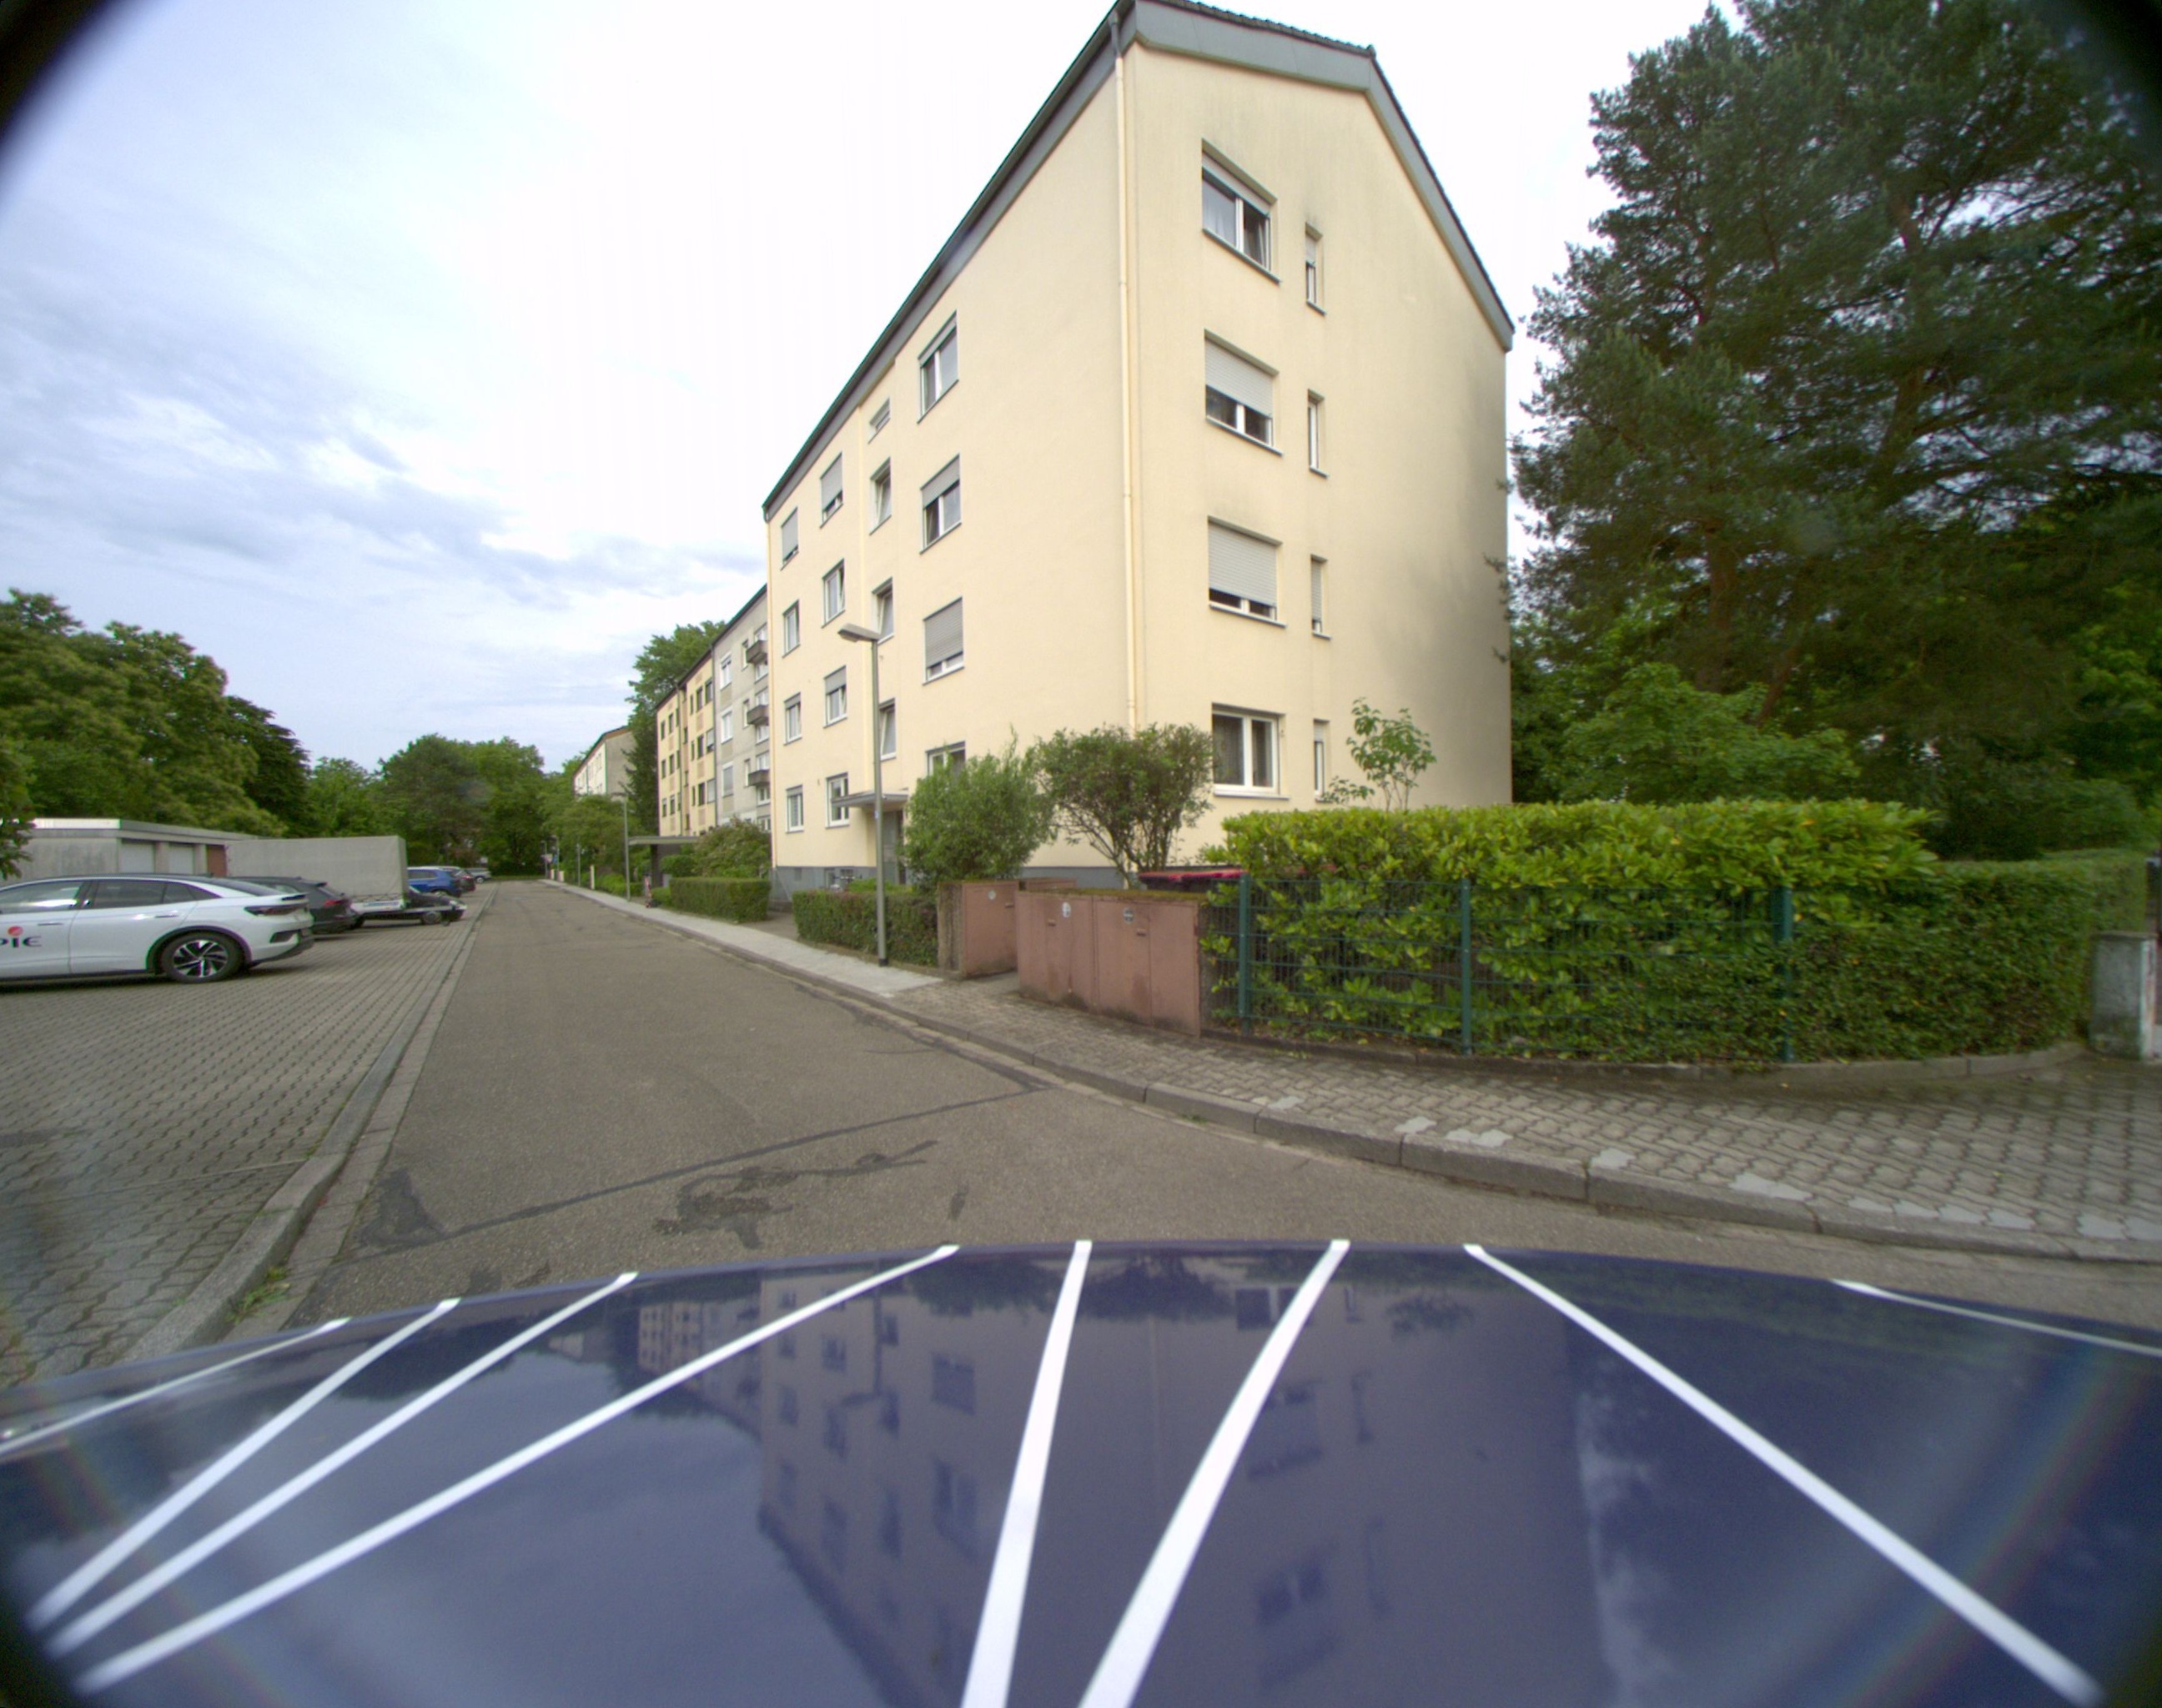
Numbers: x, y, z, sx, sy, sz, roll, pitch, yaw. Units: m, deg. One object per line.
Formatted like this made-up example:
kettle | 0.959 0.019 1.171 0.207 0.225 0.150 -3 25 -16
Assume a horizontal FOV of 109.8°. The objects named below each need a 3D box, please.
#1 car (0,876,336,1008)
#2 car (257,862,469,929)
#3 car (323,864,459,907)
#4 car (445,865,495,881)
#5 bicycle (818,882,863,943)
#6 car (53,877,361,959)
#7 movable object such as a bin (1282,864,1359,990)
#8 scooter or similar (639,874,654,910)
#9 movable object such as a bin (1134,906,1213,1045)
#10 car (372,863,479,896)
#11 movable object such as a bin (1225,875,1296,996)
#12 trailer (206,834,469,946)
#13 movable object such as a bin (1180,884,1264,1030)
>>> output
car | -13.990 1.188 10.795 4.560 1.579 1.983 -1 0 -35
car | -20.924 1.174 22.458 4.334 1.791 1.995 1 -2 -38
car | -28.455 1.286 31.535 4.008 1.693 1.995 1 -2 -38
car | -65.775 2.031 81.854 4.115 1.636 1.783 -1 0 -38
bicycle | -4.587 1.086 14.454 0.319 1.069 1.414 -3 2 -37
car | -18.668 1.287 16.564 4.149 1.440 1.608 -1 0 -37
movable object such as a bin | 2.311 0.676 7.332 0.508 1.158 0.514 0 0 -38
scooter or similar | -14.951 1.307 26.151 0.274 1.204 1.161 -1 0 -38
movable object such as a bin | 0.853 1.091 7.018 0.508 1.180 0.514 0 0 -38
car | -35.216 1.369 40.990 4.218 1.717 1.995 1 -2 -38
movable object such as a bin | 1.856 0.813 7.870 0.508 1.180 0.514 0 0 -38
trailer | -19.261 0.826 20.080 4.632 2.511 1.937 -3 2 -37
movable object such as a bin | 1.225 0.861 6.621 0.508 1.180 0.514 0 0 -38
